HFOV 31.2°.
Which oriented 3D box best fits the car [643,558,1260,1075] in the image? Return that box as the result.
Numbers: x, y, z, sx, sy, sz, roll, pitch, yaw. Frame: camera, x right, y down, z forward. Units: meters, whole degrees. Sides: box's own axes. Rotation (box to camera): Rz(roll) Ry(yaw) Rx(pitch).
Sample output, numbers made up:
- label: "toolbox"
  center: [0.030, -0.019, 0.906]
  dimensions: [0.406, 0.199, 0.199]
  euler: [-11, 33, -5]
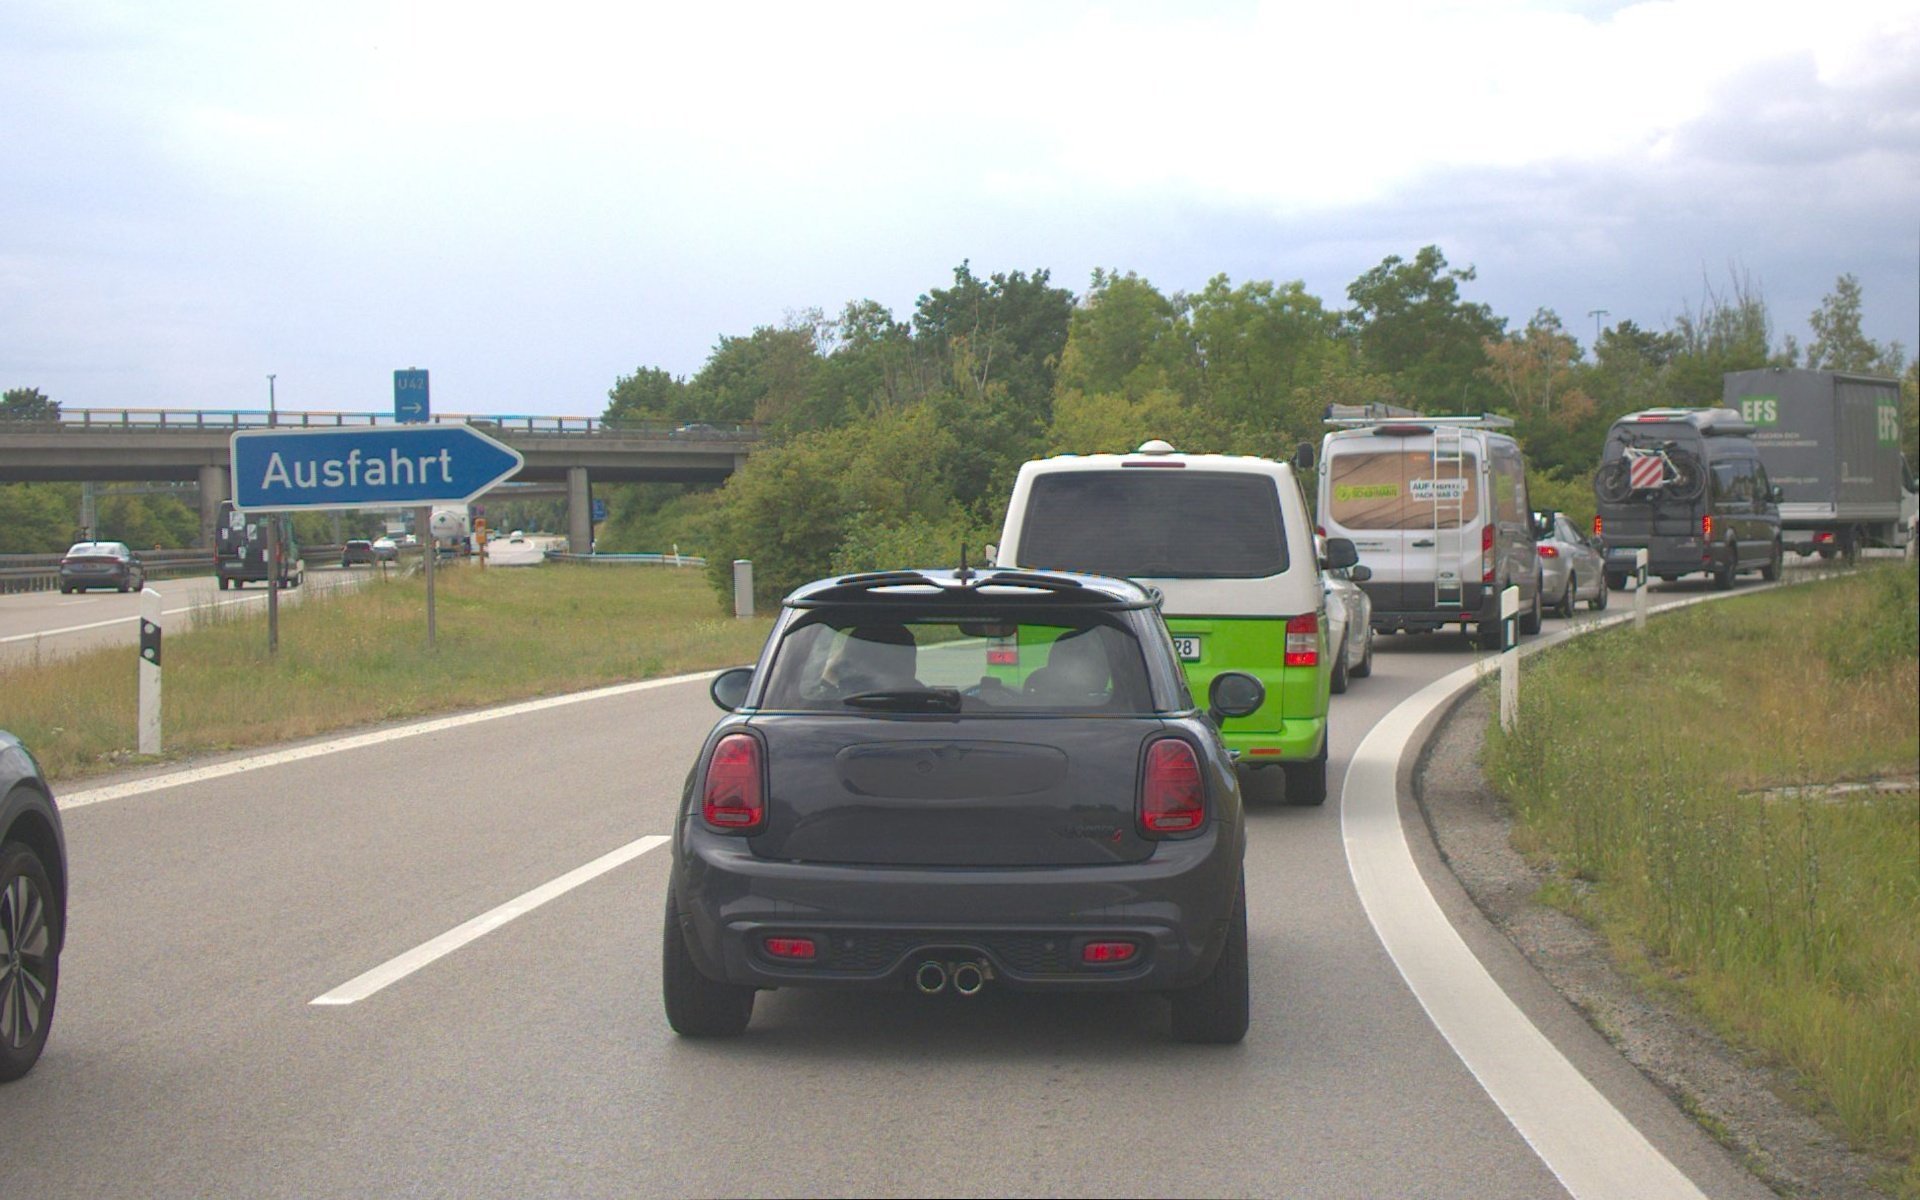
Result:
- label: "car"
  center: [0.044, 0.583, 11.510]
  dimensions: [1.727, 1.409, 3.725]
  euler: [0, 1, 2]

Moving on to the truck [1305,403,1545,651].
- label: "truck"
  center: [5.412, -0.868, 39.433]
  dimensions: [2.180, 2.649, 5.106]
  euler: [0, 2, 14]

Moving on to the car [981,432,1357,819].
- label: "car"
  center: [1.314, 0.082, 19.967]
  dimensions: [1.785, 2.007, 3.999]
  euler: [0, 1, 9]

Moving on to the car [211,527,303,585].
- label: "car"
  center: [-20.873, -1.325, 102.255]
  dimensions: [2.095, 1.665, 4.307]
  euler: [-1, 1, -4]

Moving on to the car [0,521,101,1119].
- label: "car"
  center: [-3.447, 0.581, 7.848]
  dimensions: [1.796, 1.550, 3.961]
  euler: [0, 1, 3]

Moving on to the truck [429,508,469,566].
- label: "truck"
  center: [-31.226, -3.831, 210.256]
  dimensions: [2.145, 3.495, 4.001]
  euler: [1, 0, -5]

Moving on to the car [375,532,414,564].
- label: "car"
  center: [-35.822, -3.288, 217.865]
  dimensions: [1.993, 1.961, 4.001]
  euler: [1, 1, -4]

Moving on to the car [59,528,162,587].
- label: "car"
  center: [-24.607, -1.253, 99.745]
  dimensions: [2.159, 1.665, 4.307]
  euler: [-1, 1, -4]

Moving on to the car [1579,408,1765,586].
- label: "car"
  center: [11.642, -1.676, 56.035]
  dimensions: [2.107, 2.786, 3.995]
  euler: [1, 2, 24]

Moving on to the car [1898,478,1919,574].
- label: "car"
  center: [21.721, -1.543, 73.296]
  dimensions: [1.998, 2.007, 3.991]
  euler: [1, 1, 36]

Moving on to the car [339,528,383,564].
- label: "car"
  center: [-33.499, -3.002, 192.328]
  dimensions: [1.993, 1.961, 4.001]
  euler: [1, 1, -4]

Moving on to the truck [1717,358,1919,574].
- label: "truck"
  center: [16.485, -2.469, 65.630]
  dimensions: [2.232, 3.893, 6.006]
  euler: [1, 1, 30]

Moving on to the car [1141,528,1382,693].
- label: "car"
  center: [2.782, 0.056, 31.053]
  dimensions: [1.763, 1.394, 3.723]
  euler: [0, 1, 11]

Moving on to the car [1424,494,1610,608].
- label: "car"
  center: [7.741, -0.693, 47.490]
  dimensions: [1.868, 1.504, 3.996]
  euler: [0, 1, 19]
